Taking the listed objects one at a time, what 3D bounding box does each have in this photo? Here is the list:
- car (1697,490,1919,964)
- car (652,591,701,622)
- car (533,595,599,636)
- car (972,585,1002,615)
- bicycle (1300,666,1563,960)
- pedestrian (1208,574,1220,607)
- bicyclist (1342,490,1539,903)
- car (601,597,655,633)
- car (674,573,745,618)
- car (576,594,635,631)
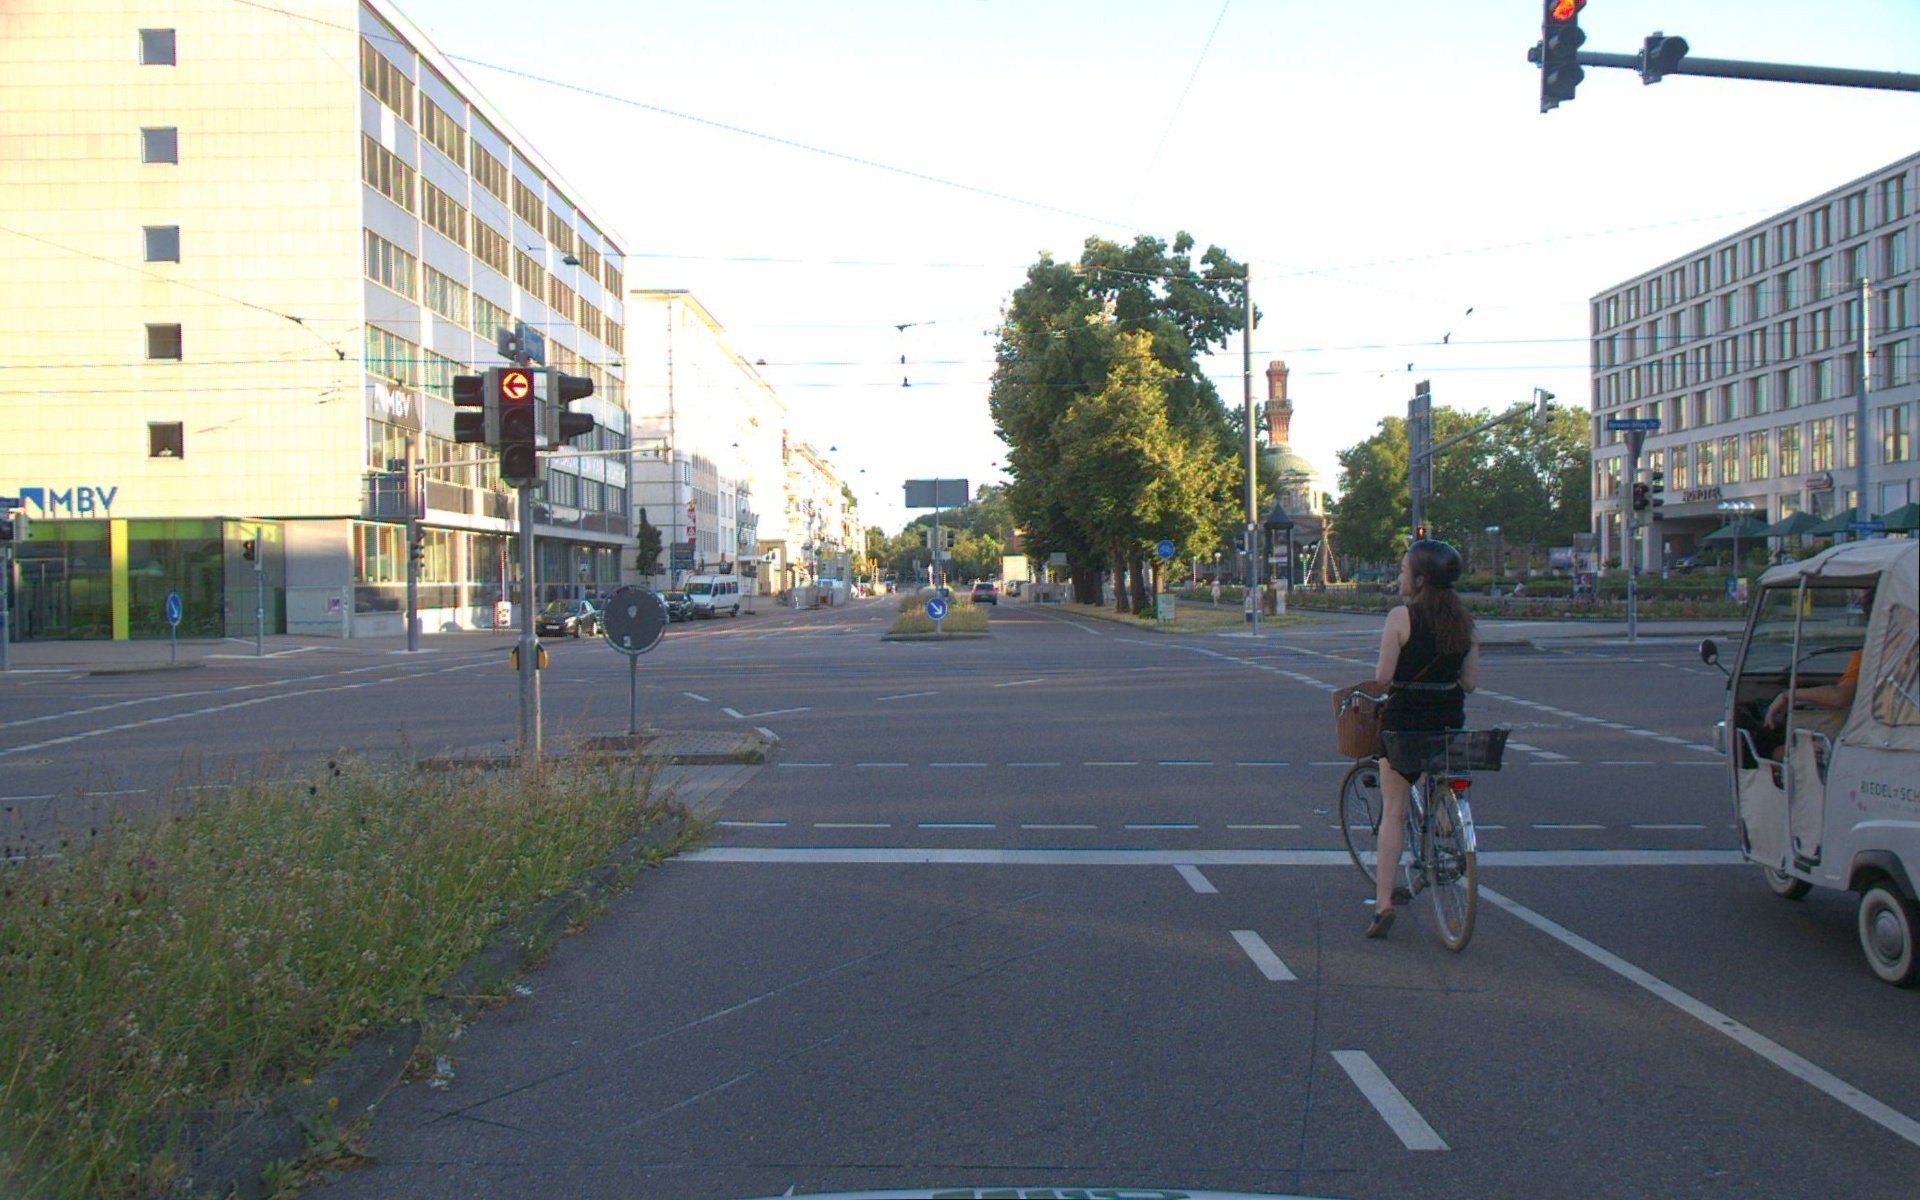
[{"bbox_3d":[4.408,0.457,7.091,1.429,1.811,2.565,0,2,2],"label":"car"},{"bbox_3d":[-15.357,0.365,89.624,1.758,1.501,4.001,-1,-2,3],"label":"car"},{"bbox_3d":[-15.832,0.658,66.666,1.760,1.501,3.998,-1,-2,-1],"label":"car"},{"bbox_3d":[1.905,-0.034,118.878,1.953,2.049,3.999,-1,1,-1],"label":"car"},{"bbox_3d":[2.122,0.903,7.728,0.624,1.087,2.069,0,1,0],"label":"bicycle"},{"bbox_3d":[13.236,-0.500,86.149,0.498,1.697,0.531,-1,0,-2],"label":"pedestrian"},{"bbox_3d":[2.108,0.403,7.330,0.615,1.723,0.748,-1,0,-1],"label":"bicyclist"},{"bbox_3d":[-15.494,0.724,77.312,1.760,1.501,3.998,-1,-2,-1],"label":"car"},{"bbox_3d":[-14.528,-0.220,96.226,2.130,2.427,5.994,-2,-2,11],"label":"car"},{"bbox_3d":[-15.481,0.558,72.466,1.760,1.501,3.998,-1,-2,-1],"label":"car"}]
